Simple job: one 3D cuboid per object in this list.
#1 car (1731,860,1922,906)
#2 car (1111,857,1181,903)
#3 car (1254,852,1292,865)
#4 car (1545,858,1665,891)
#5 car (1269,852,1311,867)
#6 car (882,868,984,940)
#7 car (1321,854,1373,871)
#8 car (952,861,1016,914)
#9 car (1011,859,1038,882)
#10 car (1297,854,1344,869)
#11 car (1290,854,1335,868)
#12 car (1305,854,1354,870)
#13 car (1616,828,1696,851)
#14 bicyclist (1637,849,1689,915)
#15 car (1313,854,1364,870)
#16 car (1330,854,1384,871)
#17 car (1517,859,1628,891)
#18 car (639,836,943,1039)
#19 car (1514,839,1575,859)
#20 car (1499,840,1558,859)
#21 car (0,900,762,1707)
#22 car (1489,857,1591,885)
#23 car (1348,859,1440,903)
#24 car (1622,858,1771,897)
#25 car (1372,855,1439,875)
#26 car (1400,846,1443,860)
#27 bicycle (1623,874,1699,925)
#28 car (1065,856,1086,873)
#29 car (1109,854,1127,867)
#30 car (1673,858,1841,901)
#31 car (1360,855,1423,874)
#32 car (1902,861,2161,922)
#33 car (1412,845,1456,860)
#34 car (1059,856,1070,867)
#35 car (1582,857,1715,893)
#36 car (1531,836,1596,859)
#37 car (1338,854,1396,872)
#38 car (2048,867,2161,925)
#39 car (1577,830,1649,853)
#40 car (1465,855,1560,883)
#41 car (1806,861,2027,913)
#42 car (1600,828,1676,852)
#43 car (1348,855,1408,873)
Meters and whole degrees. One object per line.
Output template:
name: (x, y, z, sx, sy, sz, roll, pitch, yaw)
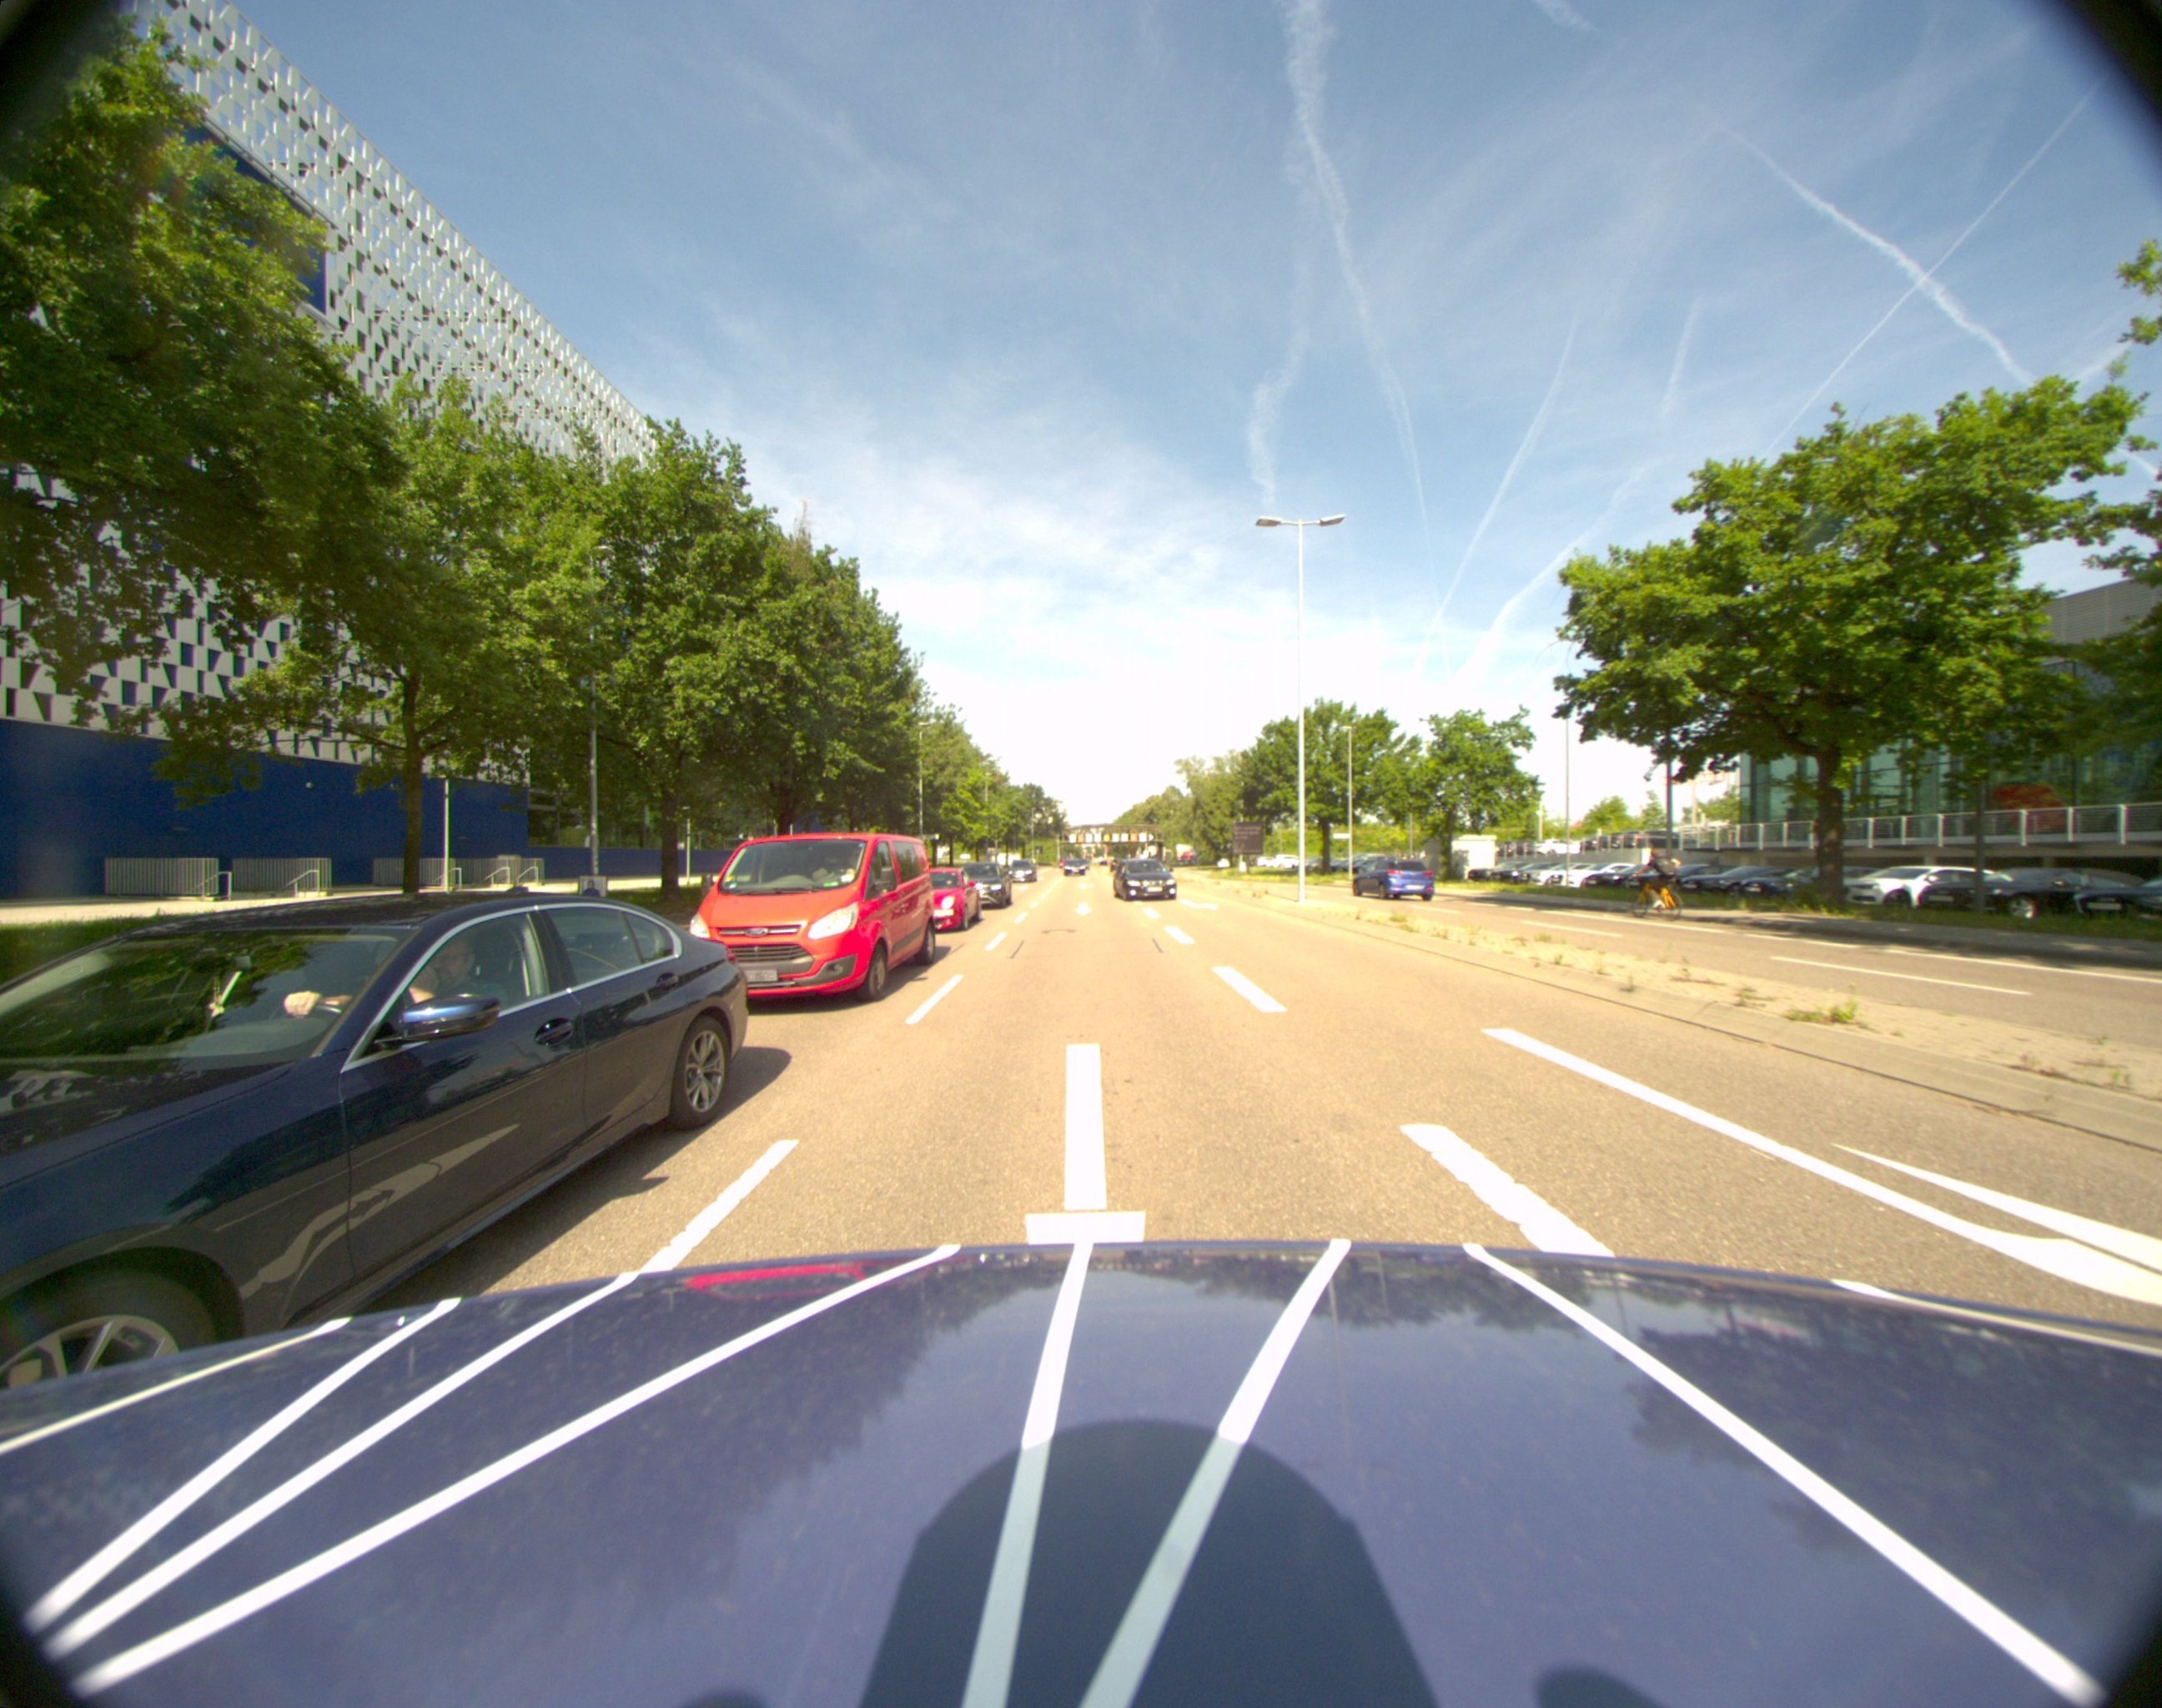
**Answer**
car: (23.166, 0.874, 23.735, 4.196, 1.198, 1.690, 3, 0, 1)
car: (2.274, 0.882, 28.021, 1.883, 1.513, 4.867, -2, 0, -3)
car: (23.542, 0.573, 93.456, 4.196, 1.370, 1.690, 3, 0, 1)
car: (23.577, 0.891, 34.280, 4.196, 1.248, 1.690, 3, 0, 1)
car: (23.575, 0.605, 85.671, 4.196, 1.490, 1.690, 3, 0, 1)
car: (-3.385, 1.089, 18.034, 1.692, 1.414, 3.915, -1, 0, -1)
car: (24.364, 0.782, 69.707, 4.196, 1.315, 1.690, 3, 0, 1)
car: (-3.201, 1.056, 25.671, 1.649, 1.530, 3.999, -3, 0, -1)
car: (-3.918, 1.113, 53.019, 1.649, 1.453, 3.999, -2, 0, -2)
car: (24.385, 0.755, 77.440, 4.196, 1.315, 1.690, 3, 0, 1)
car: (24.426, 0.713, 80.231, 4.196, 1.315, 1.690, 3, 0, 1)
car: (24.460, 0.785, 74.939, 4.196, 1.315, 1.690, 3, 0, 1)
car: (39.723, -0.993, 52.563, 4.196, 1.397, 1.690, 3, 0, 1)
bicyclist: (14.400, 0.674, 18.831, 0.578, 1.587, 0.910, 1, 0, 3)
car: (24.524, 0.757, 72.393, 4.196, 1.315, 1.690, 3, 0, 1)
car: (24.366, 0.763, 67.170, 4.196, 1.315, 1.690, 3, 0, 1)
car: (23.664, 0.982, 36.685, 4.196, 1.317, 1.690, 3, 0, 1)
car: (-3.238, 0.811, 9.756, 2.014, 1.896, 4.809, -2, 0, 0)
car: (40.071, -0.400, 65.770, 4.196, 1.490, 1.690, 3, 0, 1)
car: (40.070, -0.386, 68.104, 4.196, 1.490, 1.690, 3, 0, 1)
car: (-3.102, 1.045, 2.941, 1.800, 1.420, 4.538, -1, 0, 0)
car: (23.687, 0.872, 39.285, 4.196, 1.239, 1.690, 3, 0, 1)
car: (11.331, 0.925, 27.787, 1.732, 1.430, 3.869, 2, 0, 0)
car: (23.372, 0.865, 28.955, 4.196, 1.252, 1.690, 3, 0, 1)
car: (23.950, 0.794, 56.151, 4.196, 1.315, 1.690, 3, 0, 1)
car: (40.275, -0.138, 89.906, 4.196, 1.490, 1.690, 3, 0, 1)
bicycle: (14.403, 1.106, 18.922, 0.572, 1.143, 1.770, 1, 0, 3)
car: (-0.524, 0.970, 69.974, 1.848, 1.530, 4.000, 0, 0, -1)
car: (4.139, 0.741, 85.734, 1.866, 1.503, 4.000, 0, 0, 0)
car: (23.275, 0.846, 26.259, 4.196, 1.247, 1.690, 3, 0, 1)
car: (24.097, 0.813, 59.046, 4.196, 1.315, 1.690, 3, 0, 1)
car: (23.360, 0.895, 18.782, 4.196, 1.239, 1.690, 3, 0, 1)
car: (40.069, -0.167, 86.351, 4.196, 1.490, 1.690, 3, 0, 1)
car: (-2.634, 1.167, 119.191, 1.649, 1.530, 3.999, -3, 0, -1)
car: (23.512, 0.850, 31.591, 4.196, 1.291, 1.690, 3, 0, 1)
car: (40.057, -0.545, 63.110, 4.196, 1.722, 1.690, 3, 0, 1)
car: (24.138, 0.775, 64.155, 4.196, 1.315, 1.690, 3, 0, 1)
car: (23.533, 0.951, 15.923, 4.196, 1.116, 1.719, 3, 0, 1)
car: (40.509, -0.955, 57.920, 4.196, 1.490, 1.690, 3, 0, 1)
car: (23.648, 0.831, 41.753, 4.196, 1.315, 1.690, 3, 0, 1)
car: (23.271, 0.882, 21.280, 4.196, 1.188, 1.690, 3, 0, 1)
car: (40.398, -0.983, 55.187, 4.196, 1.490, 1.690, 3, 0, 1)
car: (24.041, 0.796, 61.625, 4.196, 1.315, 1.690, 3, 0, 1)
